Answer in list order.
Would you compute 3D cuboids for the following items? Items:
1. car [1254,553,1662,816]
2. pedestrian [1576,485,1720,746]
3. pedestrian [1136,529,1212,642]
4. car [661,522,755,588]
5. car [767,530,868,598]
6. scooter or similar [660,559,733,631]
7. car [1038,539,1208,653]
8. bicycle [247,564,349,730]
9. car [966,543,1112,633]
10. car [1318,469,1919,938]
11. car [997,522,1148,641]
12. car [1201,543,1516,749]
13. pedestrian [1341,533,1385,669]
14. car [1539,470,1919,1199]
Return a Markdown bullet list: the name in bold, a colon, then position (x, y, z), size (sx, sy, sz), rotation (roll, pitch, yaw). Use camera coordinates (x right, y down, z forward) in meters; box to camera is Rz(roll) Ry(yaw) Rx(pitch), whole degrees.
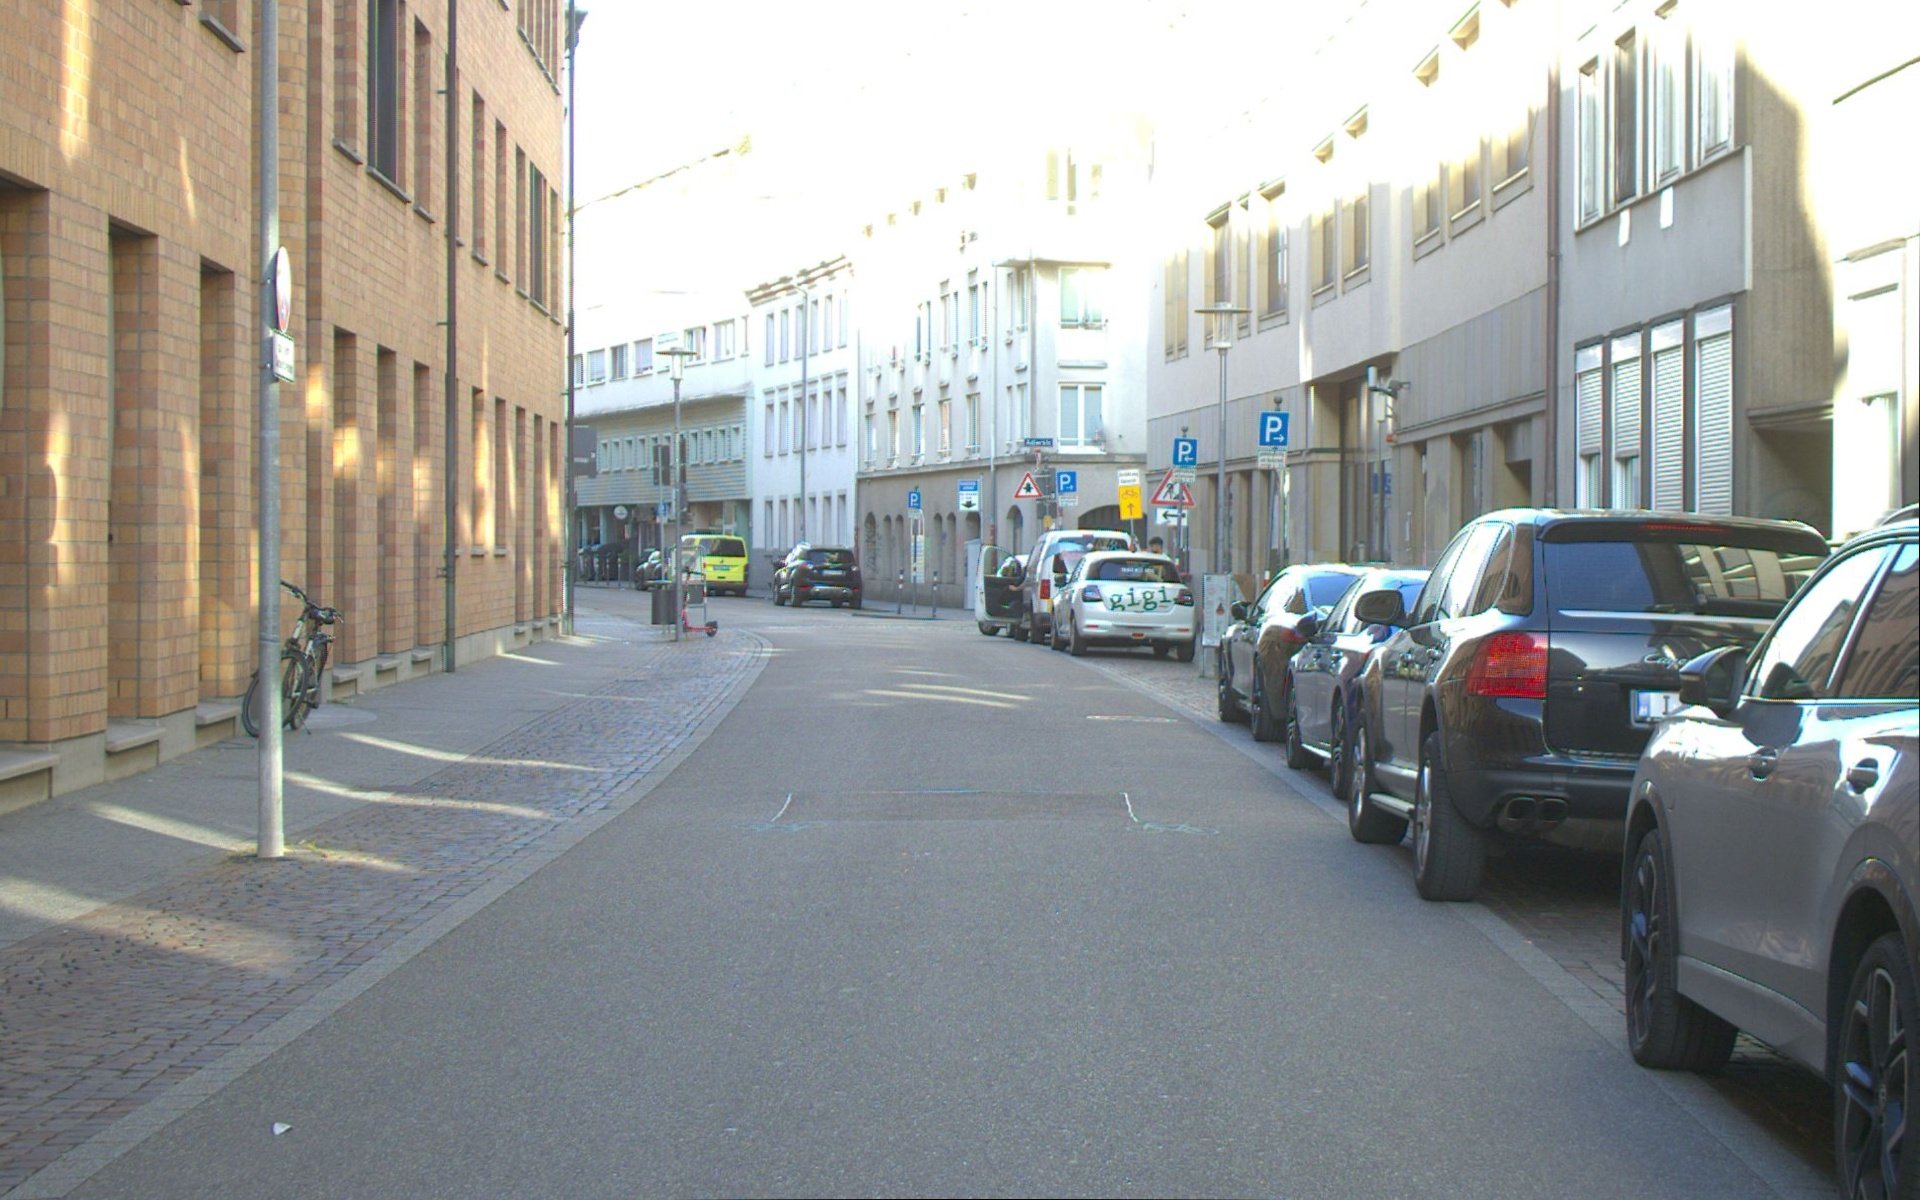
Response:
- **car**: position (3.078, 0.457, 22.212), size (1.807, 1.408, 4.790), rotation (3, 1, -1)
- **pedestrian**: position (4.637, 0.097, 23.210), size (0.788, 1.715, 0.746), rotation (-2, 1, 0)
- **pedestrian**: position (3.448, -0.229, 55.522), size (1.042, 1.795, 1.199), rotation (1, 0, -4)
- **car**: position (-7.904, -1.424, 107.425), size (2.052, 2.007, 4.176), rotation (0, 1, -17)
- **car**: position (-3.808, -0.980, 91.288), size (1.967, 1.686, 4.102), rotation (2, 1, -12)
- **scooter or similar**: position (-4.551, -0.091, 59.458), size (0.698, 1.213, 1.355), rotation (0, 1, 23)
- **car**: position (2.287, -0.090, 49.344), size (1.840, 1.473, 4.169), rotation (3, 1, -5)
- **bicycle**: position (-5.054, 0.338, 26.309), size (0.631, 1.158, 1.804), rotation (3, 1, -9)
- **car**: position (1.375, -0.238, 61.565), size (1.888, 1.513, 4.064), rotation (1, 1, -9)
- **car**: position (2.966, 0.361, 16.027), size (2.103, 1.779, 5.052), rotation (2, 1, 1)
- **car**: position (1.771, -0.319, 55.628), size (1.830, 1.785, 5.215), rotation (2, 1, -4)
- **car**: position (3.130, 0.297, 28.037), size (1.894, 1.448, 5.226), rotation (2, 1, 0)
- **pedestrian**: position (4.891, 0.008, 41.725), size (0.481, 1.649, 0.538), rotation (0, 1, 12)
- **car**: position (2.871, 0.603, 8.627), size (1.993, 1.696, 4.843), rotation (3, 1, 1)
